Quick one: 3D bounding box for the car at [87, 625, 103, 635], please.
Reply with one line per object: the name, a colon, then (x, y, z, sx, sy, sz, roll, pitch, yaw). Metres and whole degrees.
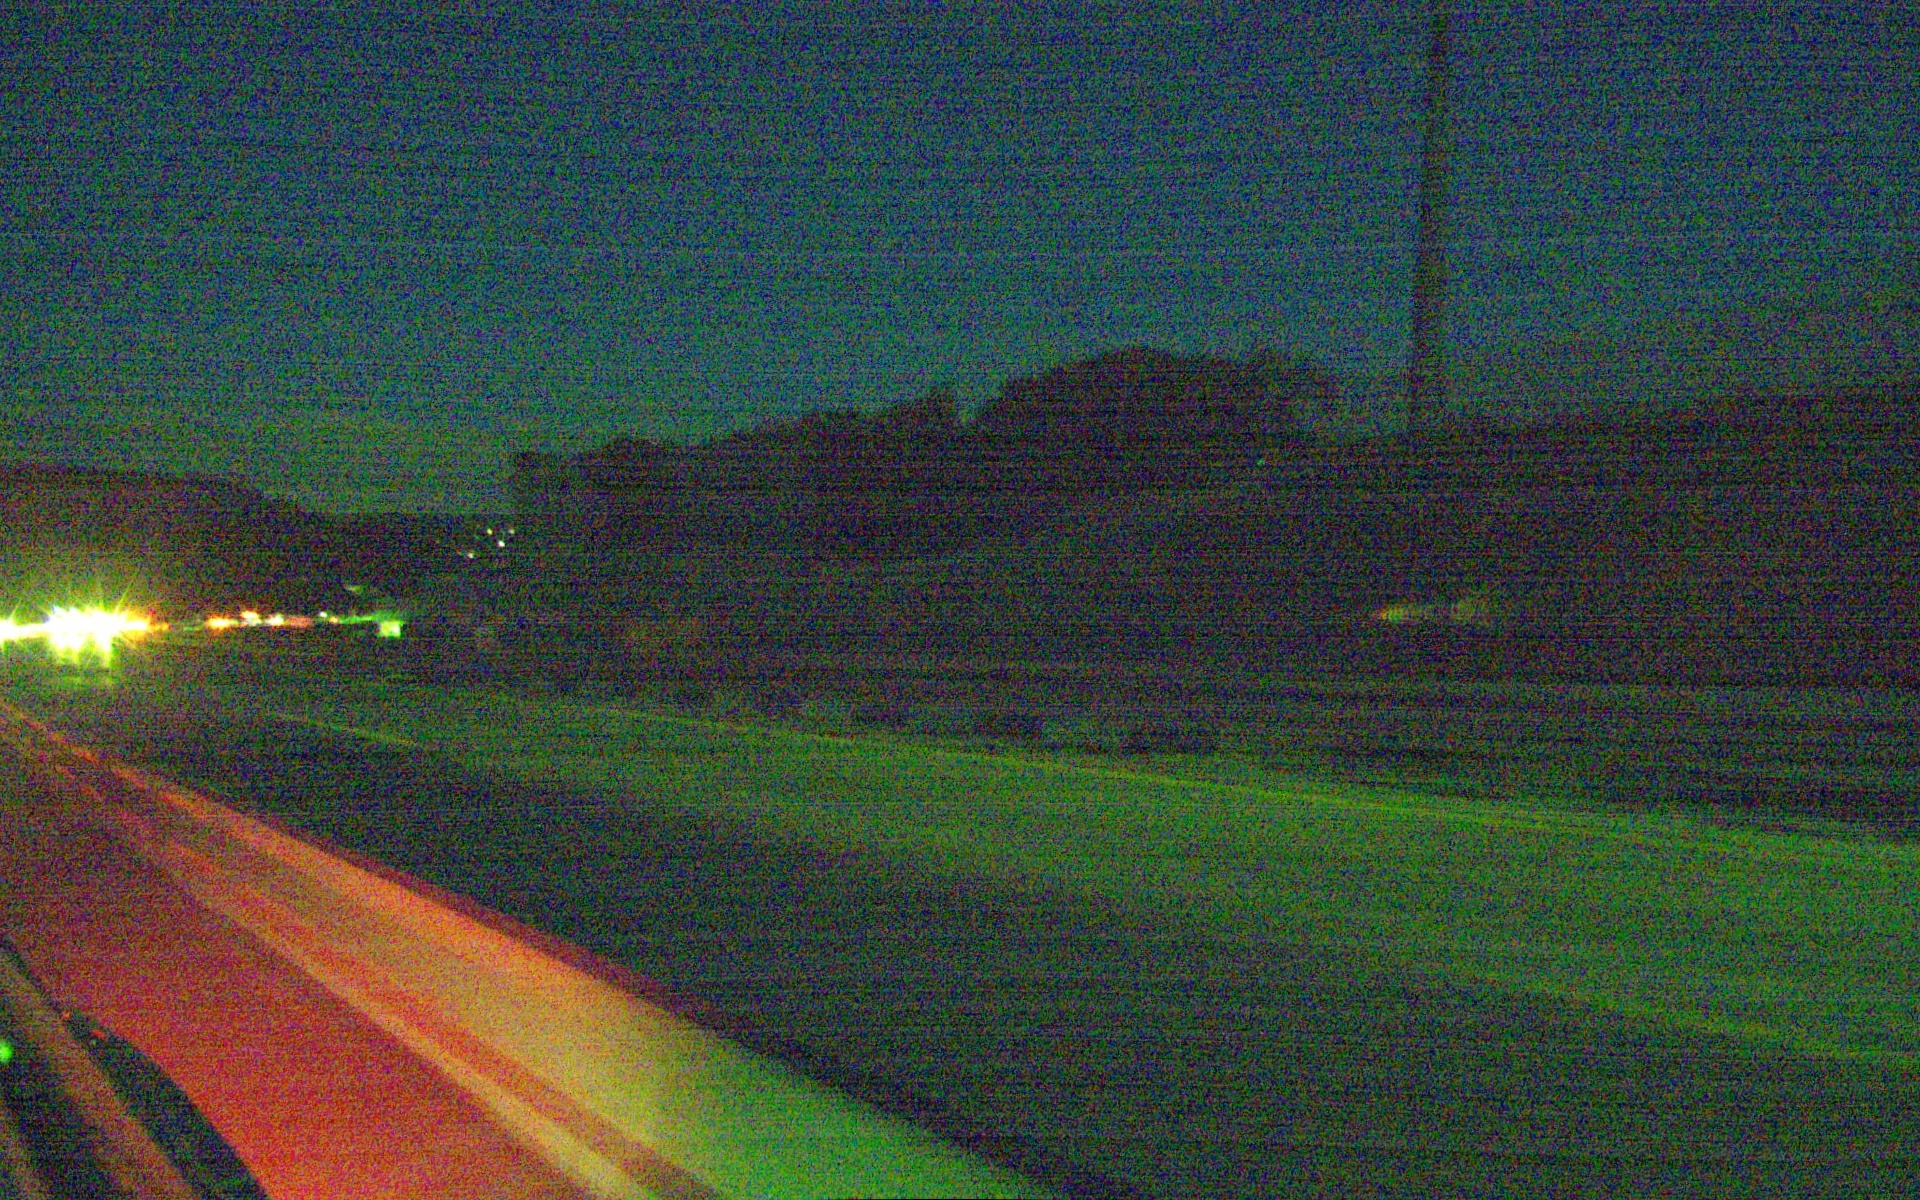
car: (-161.449, 5.620, 188.892, 1.664, 1.641, 4.734, 2, -3, -35)

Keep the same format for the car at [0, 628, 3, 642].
car: (-106.306, 3.845, 110.820, 1.784, 1.529, 3.943, 3, -4, -38)

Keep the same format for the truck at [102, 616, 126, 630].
truck: (-150.939, 4.065, 180.512, 2.387, 2.443, 7.110, 2, -2, -33)

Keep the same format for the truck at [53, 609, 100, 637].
truck: (-148.224, 3.768, 170.023, 2.923, 4.307, 17.195, 2, -1, -31)
